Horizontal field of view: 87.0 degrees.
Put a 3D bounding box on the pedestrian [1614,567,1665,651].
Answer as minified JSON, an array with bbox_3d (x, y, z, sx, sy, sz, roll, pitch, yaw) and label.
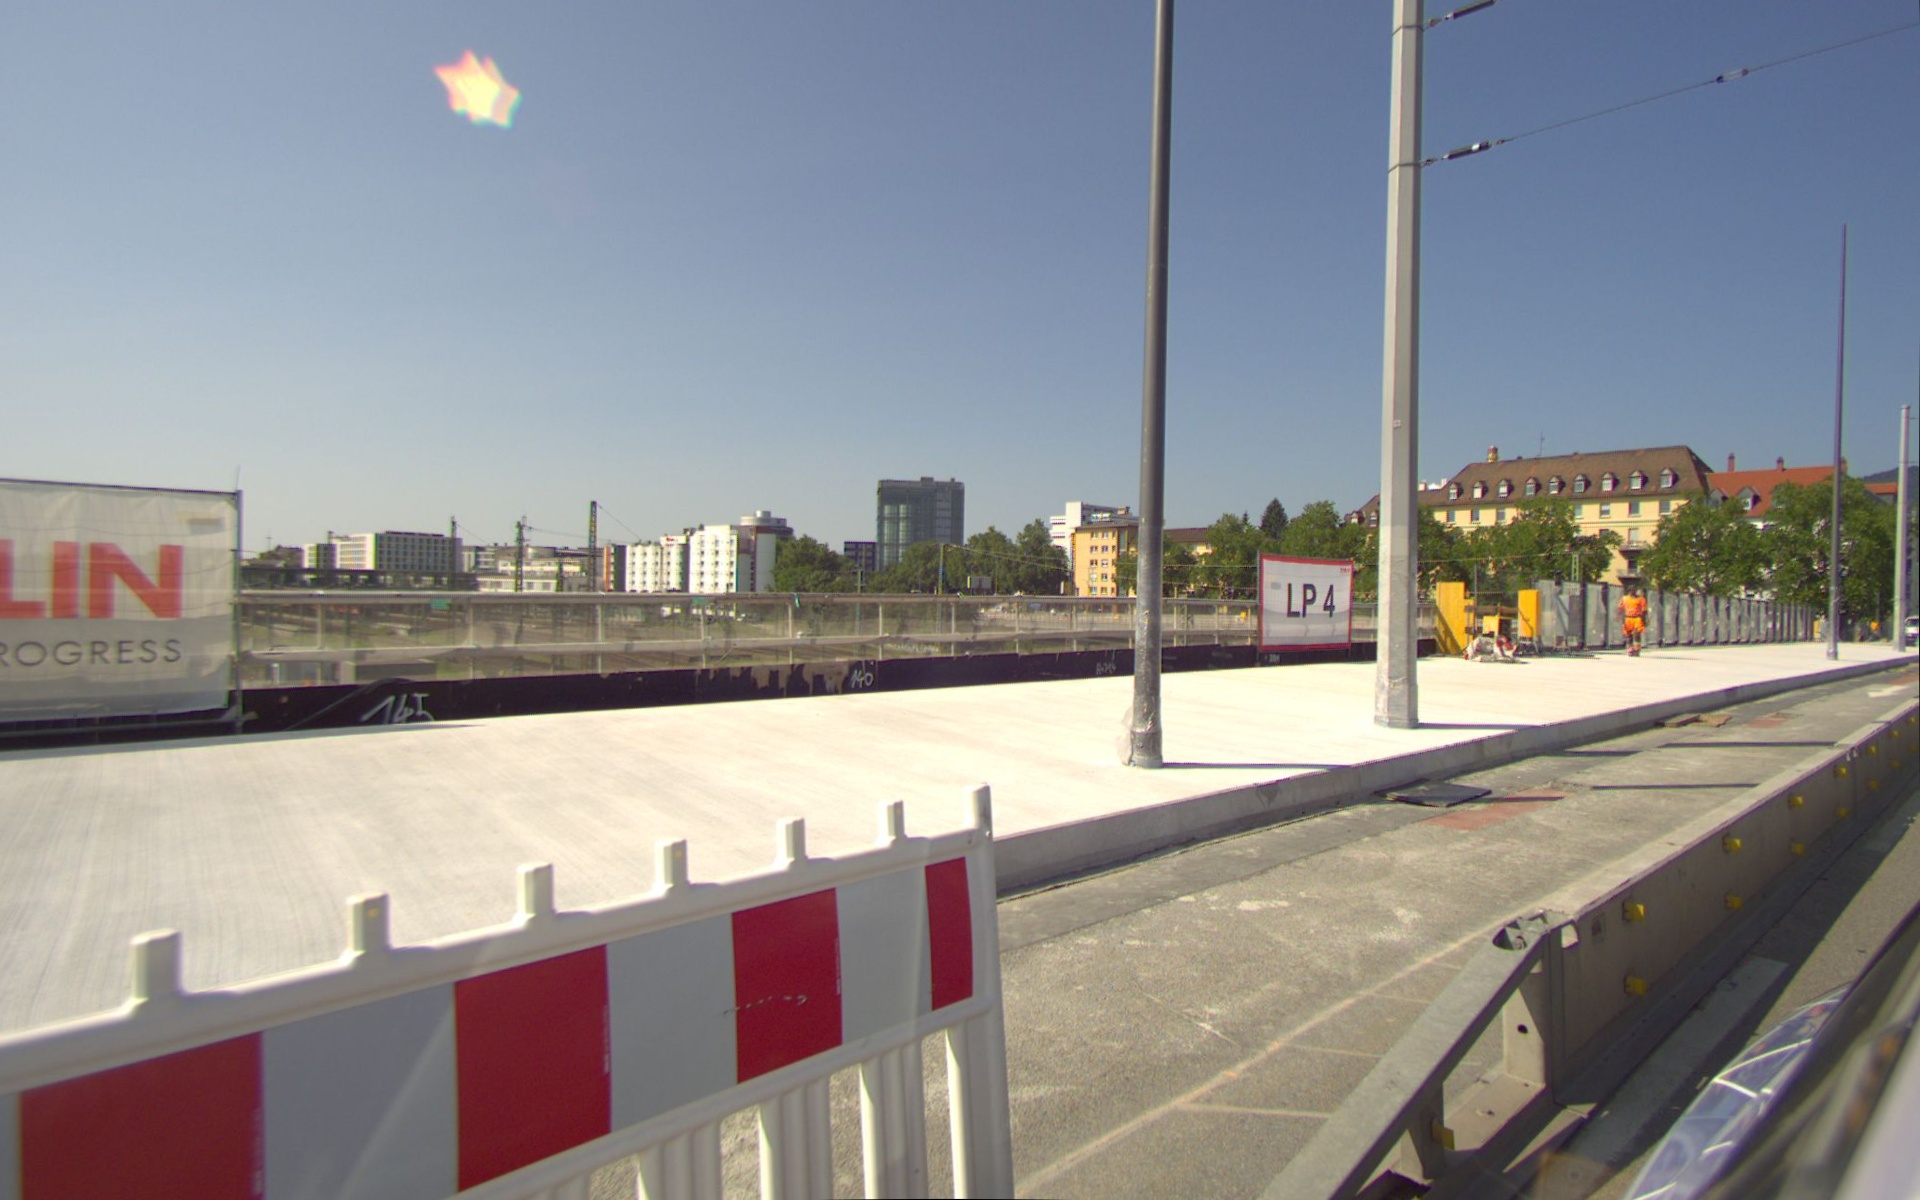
[{"bbox_3d":[16.502,0.209,24.579,0.999,1.989,0.732,1,1,-42],"label":"pedestrian"}]

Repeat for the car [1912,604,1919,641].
[{"bbox_3d":[57.835,1.391,59.541,6.354,2.117,1.937,2,-1,-40],"label":"car"}]
